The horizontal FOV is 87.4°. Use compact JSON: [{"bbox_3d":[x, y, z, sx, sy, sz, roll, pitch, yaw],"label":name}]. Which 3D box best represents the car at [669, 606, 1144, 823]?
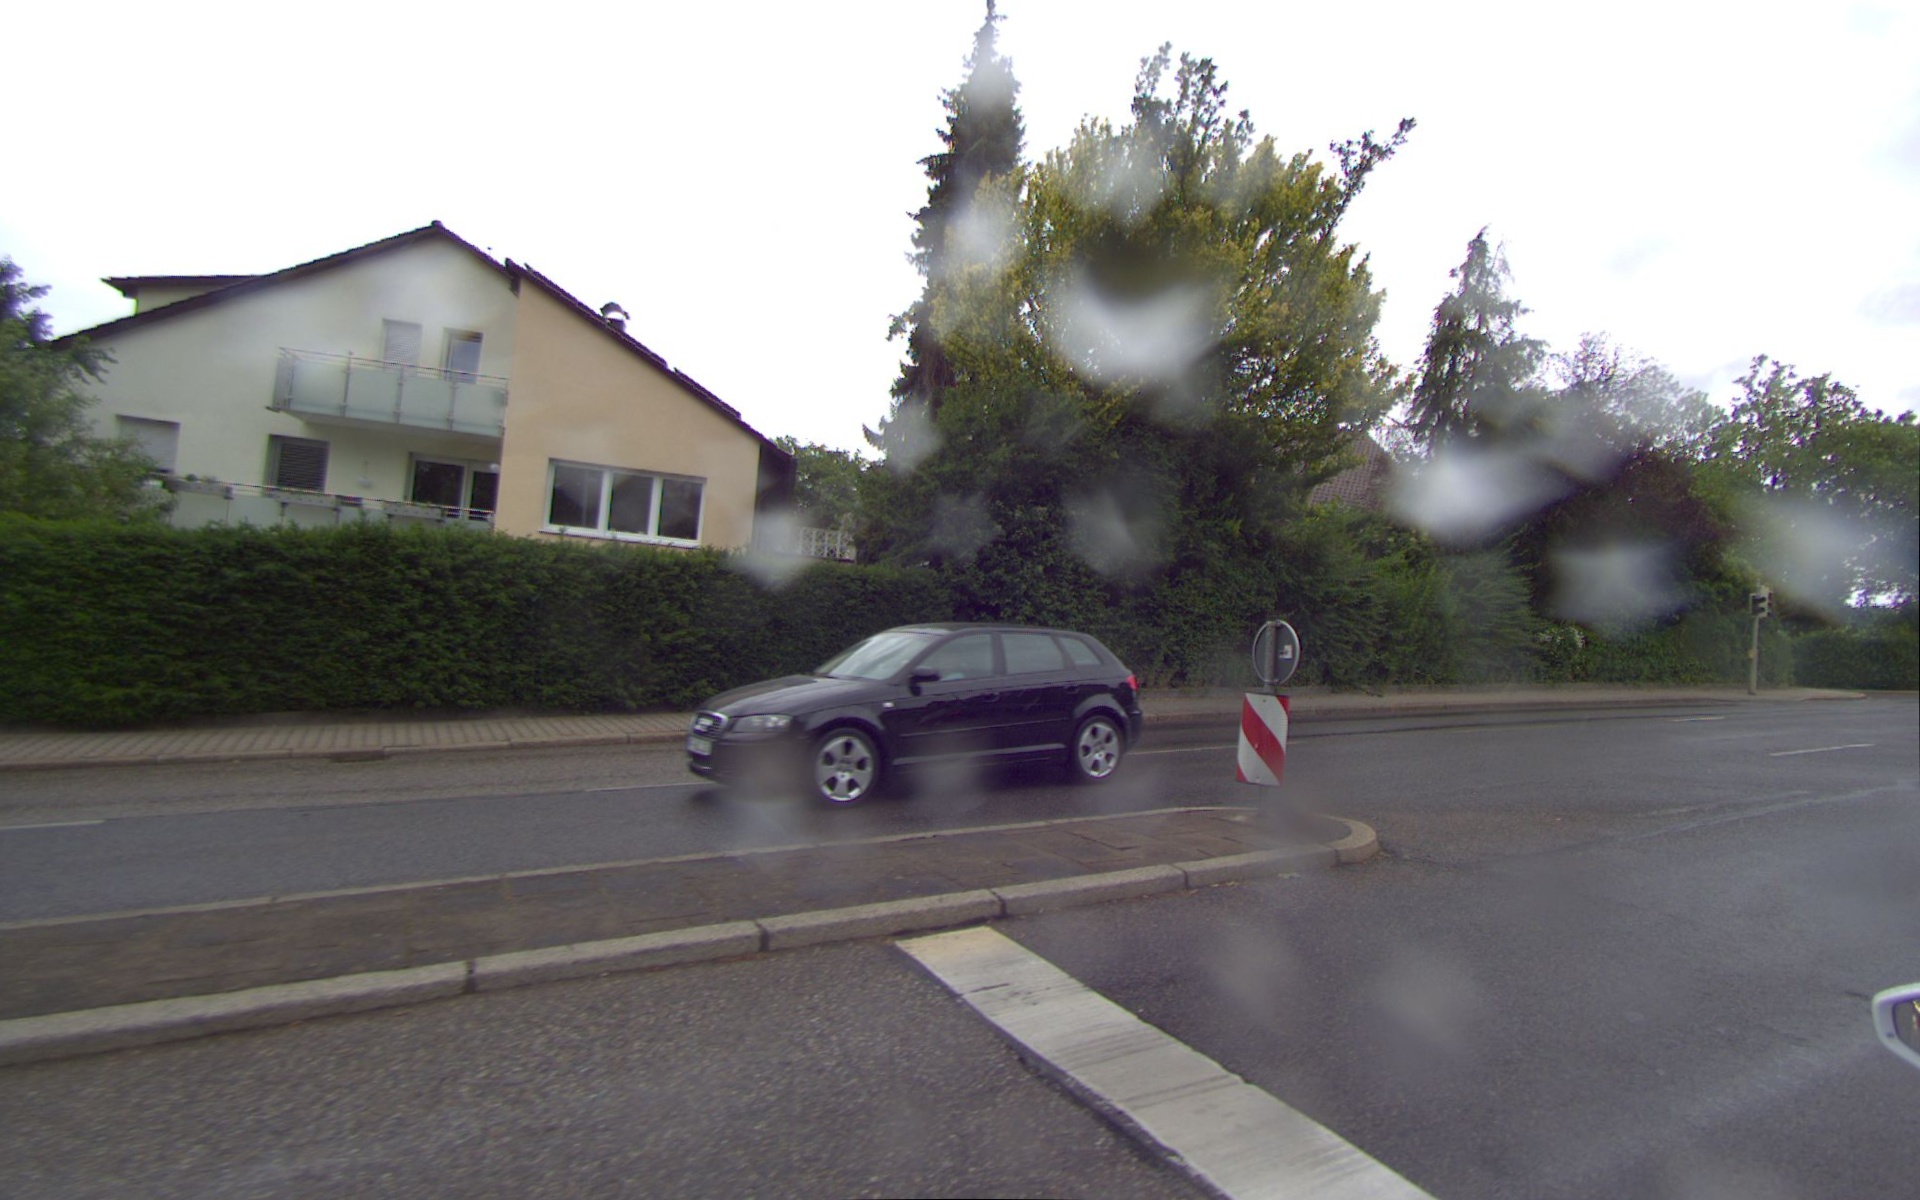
[{"bbox_3d":[-0.401,0.861,8.877,3.794,1.512,1.851,2,-2,-34],"label":"car"}]
